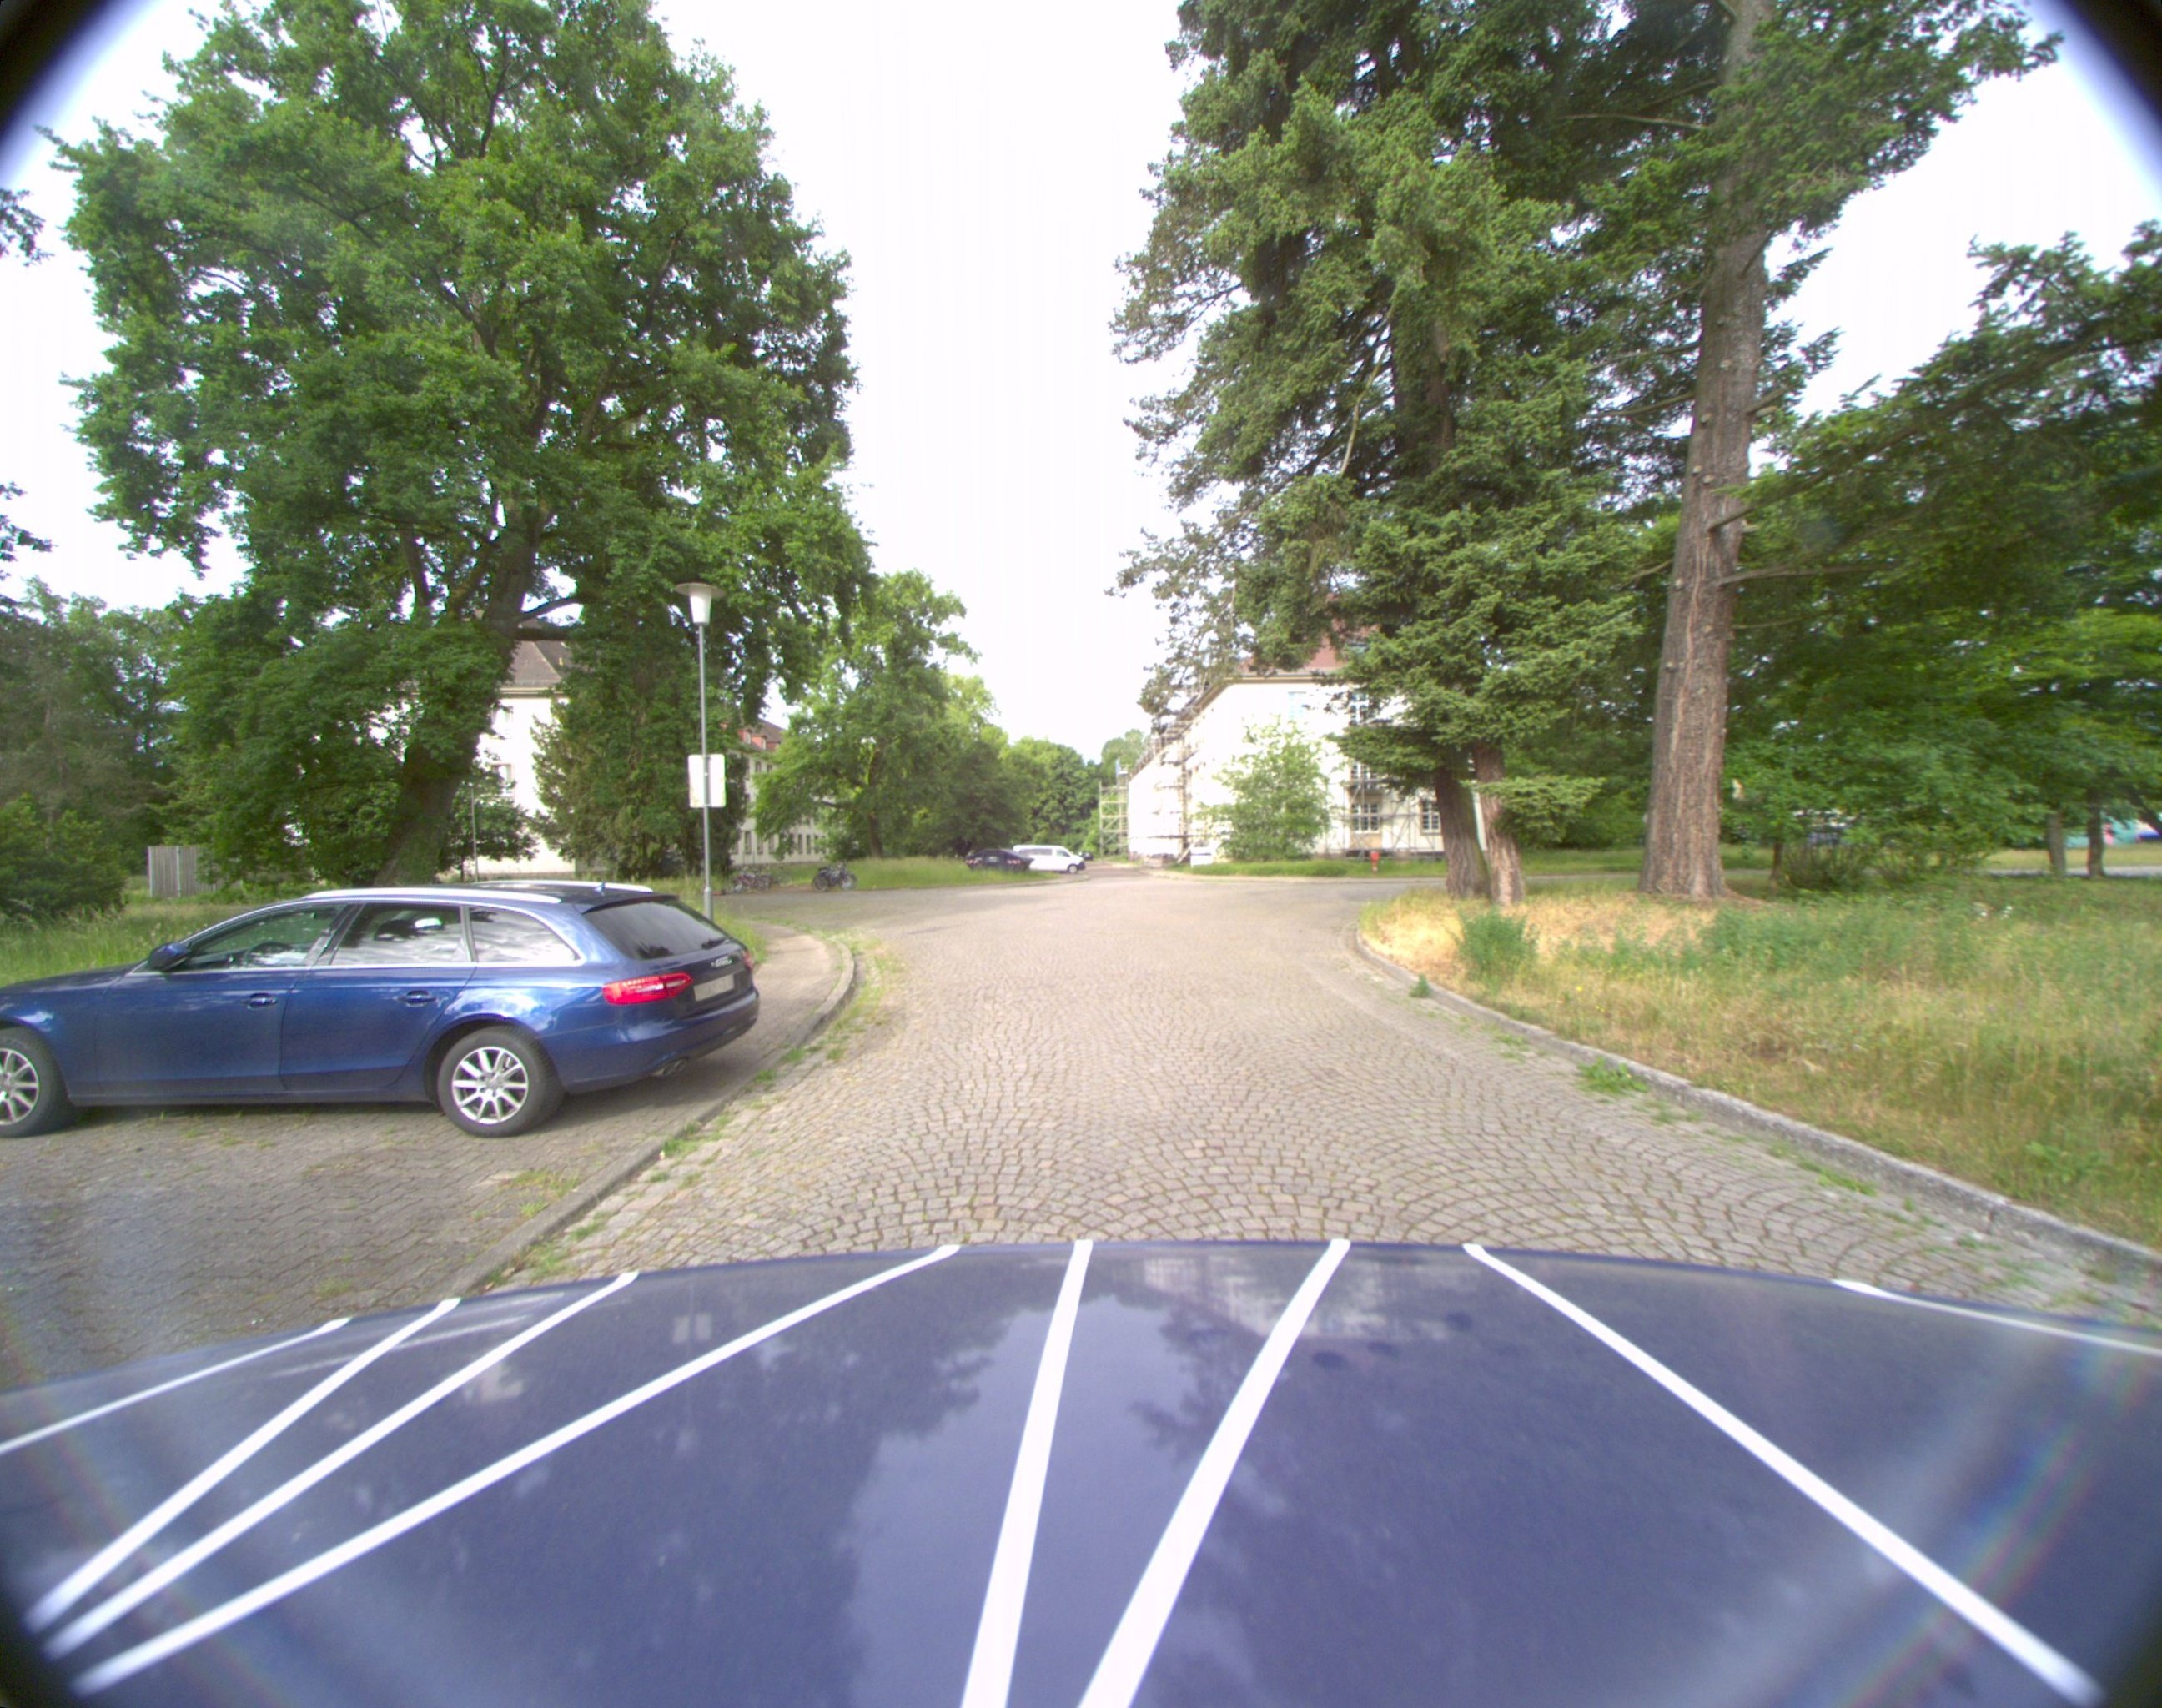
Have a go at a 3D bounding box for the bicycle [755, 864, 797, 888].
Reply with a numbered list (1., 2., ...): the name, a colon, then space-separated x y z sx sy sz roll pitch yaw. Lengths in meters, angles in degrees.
1. bicycle: -15.228 1.090 37.981 1.860 1.116 0.620 -2 1 -25

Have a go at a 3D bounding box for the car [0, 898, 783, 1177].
1. car: -4.598 1.069 5.087 4.481 1.413 1.784 0 1 1

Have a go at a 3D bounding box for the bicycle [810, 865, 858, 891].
1. bicycle: -11.367 1.077 34.989 1.976 1.070 0.587 -3 1 -29

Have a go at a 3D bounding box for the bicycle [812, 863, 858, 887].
1. bicycle: -12.021 1.023 37.070 2.032 1.070 0.620 -2 1 -25

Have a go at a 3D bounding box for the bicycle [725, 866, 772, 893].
1. bicycle: -14.933 1.146 34.112 1.860 1.116 0.620 -2 1 -25

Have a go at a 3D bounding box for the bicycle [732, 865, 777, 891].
1. bicycle: -15.351 1.138 35.756 1.860 1.116 0.620 -2 1 -25

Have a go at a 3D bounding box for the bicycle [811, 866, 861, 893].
1. bicycle: -10.793 1.113 33.430 1.976 1.070 0.587 -3 1 -29

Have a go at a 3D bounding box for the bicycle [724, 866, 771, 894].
1. bicycle: -14.710 1.146 33.510 1.860 1.116 0.620 -2 1 -25

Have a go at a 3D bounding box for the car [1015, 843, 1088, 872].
1. car: -2.120 0.249 54.042 5.102 2.007 2.054 0 1 -3
